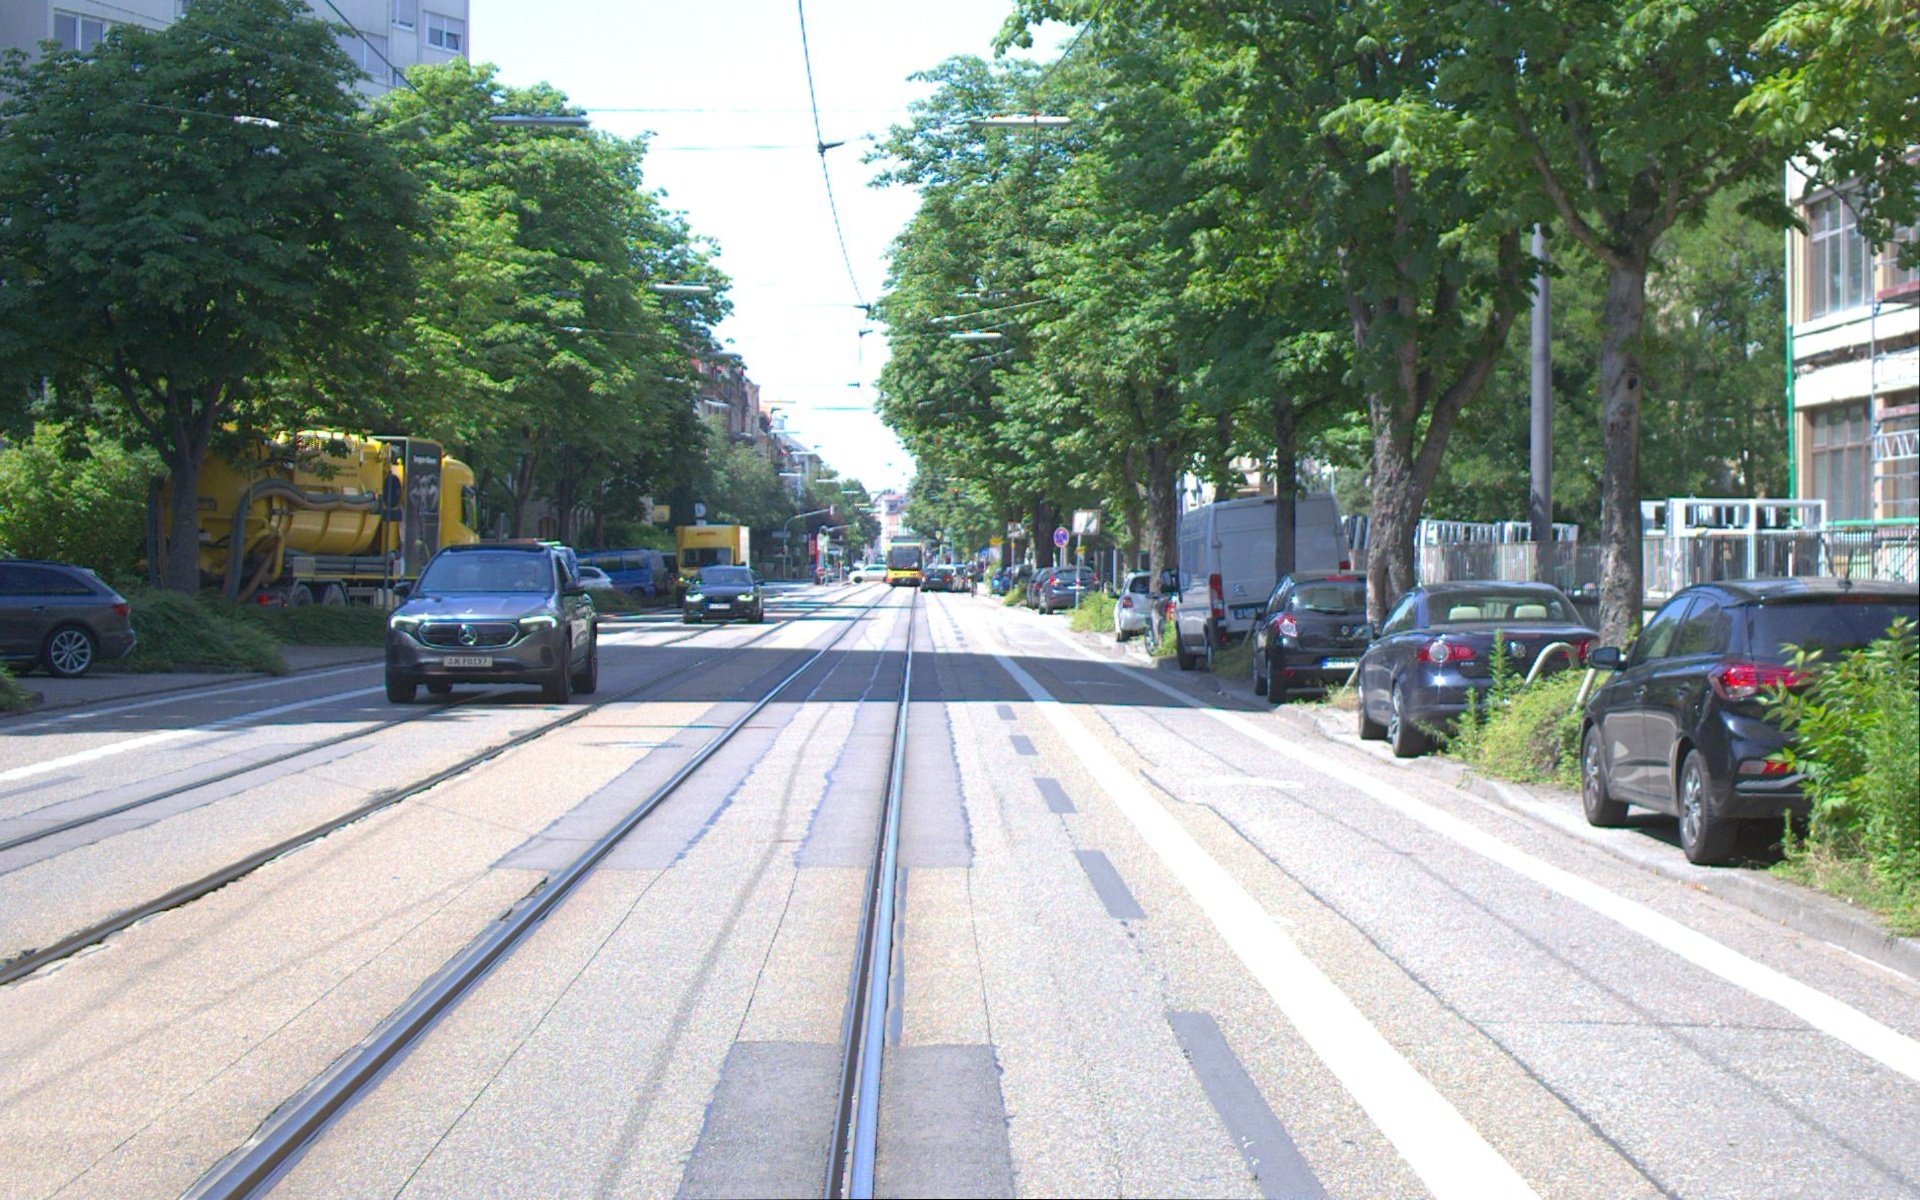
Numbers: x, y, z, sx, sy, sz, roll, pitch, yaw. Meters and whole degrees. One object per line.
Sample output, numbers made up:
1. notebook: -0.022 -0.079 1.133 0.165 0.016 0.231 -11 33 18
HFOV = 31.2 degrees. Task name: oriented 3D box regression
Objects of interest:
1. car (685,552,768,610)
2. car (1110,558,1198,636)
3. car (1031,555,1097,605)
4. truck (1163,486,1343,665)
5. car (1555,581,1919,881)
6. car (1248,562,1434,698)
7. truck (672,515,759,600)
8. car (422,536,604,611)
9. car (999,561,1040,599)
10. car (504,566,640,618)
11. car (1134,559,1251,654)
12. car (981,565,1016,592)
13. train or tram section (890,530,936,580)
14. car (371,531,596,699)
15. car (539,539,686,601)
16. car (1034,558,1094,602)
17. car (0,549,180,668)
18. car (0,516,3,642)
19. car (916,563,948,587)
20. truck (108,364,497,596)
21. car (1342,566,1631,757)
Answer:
1. car: -5.693 -0.486 84.259 1.774 1.392 4.287 0 1 0
2. car: 3.960 -0.087 70.543 1.644 1.529 3.785 0 1 1
3. car: 3.146 -0.612 104.284 1.639 1.480 3.873 0 0 -4
4. truck: 4.265 -0.394 50.939 2.014 2.480 5.956 0 1 -1
5. car: 4.532 0.637 19.029 1.671 1.433 4.042 0 1 -2
6. car: 4.401 0.307 40.286 1.824 1.466 4.400 0 1 2
7. truck: -8.507 -1.501 120.128 2.360 2.843 7.378 -1 1 1
8. car: -12.142 -0.725 93.573 1.920 1.928 4.745 -1 0 42
9. car: 2.511 -0.843 145.400 1.592 1.611 3.908 0 0 -1
10. car: -12.067 -0.262 106.961 1.761 1.428 3.990 -2 0 42
11. car: 3.904 0.083 58.246 1.644 1.529 3.947 0 1 -1
12. car: 2.023 -1.154 183.002 1.710 1.418 4.310 0 0 -1
13. train or tram section: -3.220 -3.137 239.654 3.035 3.427 11.970 0 1 0
14. car: -4.973 0.115 36.352 1.831 1.675 4.185 0 1 0
15. car: -12.085 -1.065 119.707 4.748 2.055 2.026 -2 1 -39
16. car: 3.516 -0.659 116.845 1.876 1.450 4.528 0 0 0
17. car: -11.842 0.080 41.370 4.434 1.390 1.772 1 1 -39
18. car: -12.172 -0.025 34.541 4.533 1.785 1.901 1 1 -33
19. car: -1.540 -1.403 190.643 1.781 1.341 3.416 0 1 0
20. truck: -11.951 -2.063 63.935 2.717 3.828 10.957 2 0 14
21. car: 4.414 0.464 29.457 1.824 1.466 4.486 0 1 1
